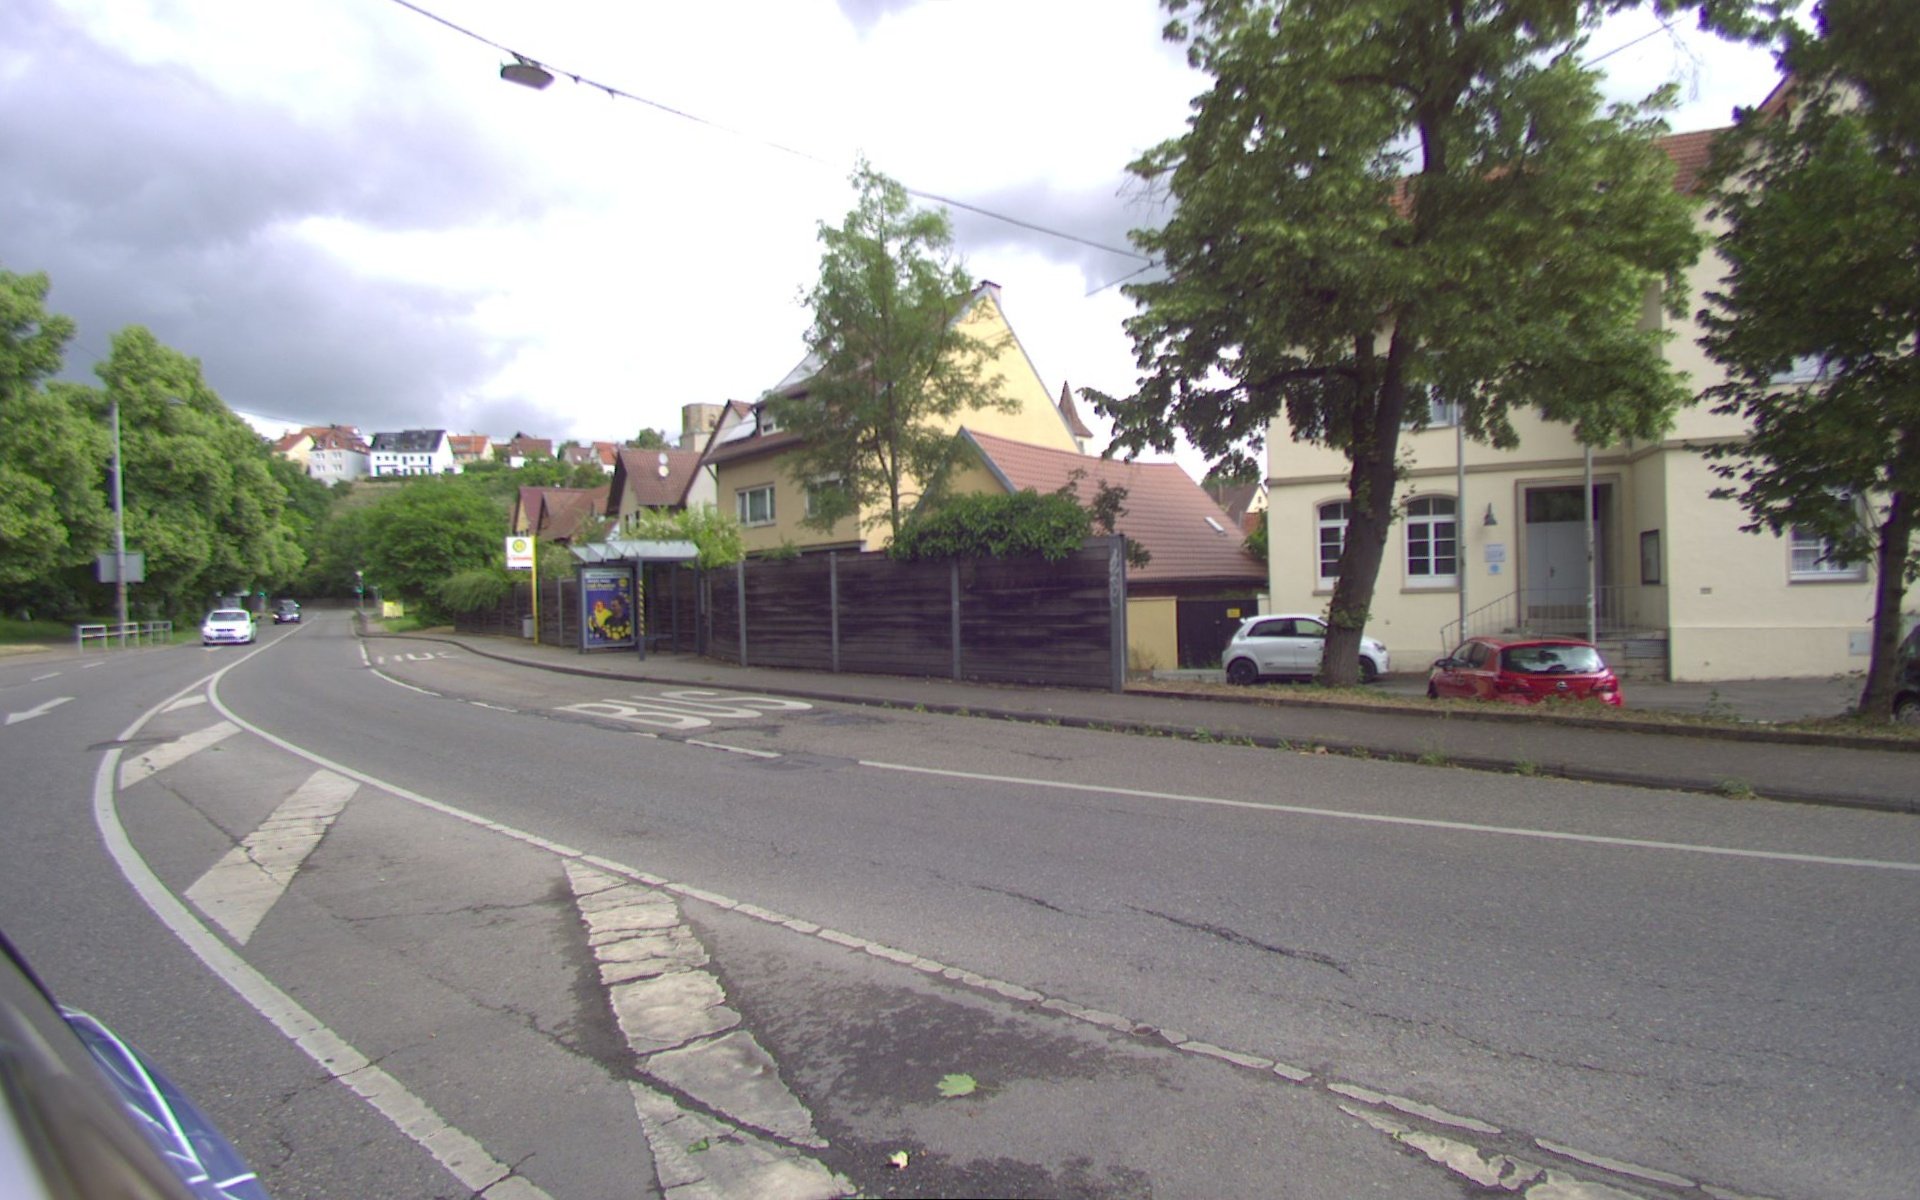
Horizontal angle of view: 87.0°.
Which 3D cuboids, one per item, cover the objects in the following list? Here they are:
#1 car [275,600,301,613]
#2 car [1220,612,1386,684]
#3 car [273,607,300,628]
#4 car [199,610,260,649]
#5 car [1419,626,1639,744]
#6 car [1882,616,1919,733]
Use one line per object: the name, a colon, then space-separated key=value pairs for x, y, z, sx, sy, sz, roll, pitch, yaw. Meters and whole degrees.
car: x=-88.417 y=0.889 z=133.179 sx=3.678 sy=1.596 sz=1.742 roll=-1 pitch=0 yaw=38
car: x=7.729 y=1.053 z=22.894 sx=3.411 sy=1.490 sz=1.600 roll=-1 pitch=0 yaw=21
car: x=-54.004 y=1.360 z=81.204 sx=1.735 sy=1.596 sz=3.693 roll=-1 pitch=0 yaw=-33
car: x=-30.794 y=1.199 z=42.735 sx=1.735 sy=1.536 sz=3.694 roll=-1 pitch=0 yaw=-31
car: x=8.152 y=1.144 z=14.886 sx=1.644 sy=1.393 sz=3.708 roll=-1 pitch=0 yaw=10
car: x=12.641 y=0.931 z=11.312 sx=1.626 sy=1.450 sz=3.567 roll=-1 pitch=0 yaw=7
